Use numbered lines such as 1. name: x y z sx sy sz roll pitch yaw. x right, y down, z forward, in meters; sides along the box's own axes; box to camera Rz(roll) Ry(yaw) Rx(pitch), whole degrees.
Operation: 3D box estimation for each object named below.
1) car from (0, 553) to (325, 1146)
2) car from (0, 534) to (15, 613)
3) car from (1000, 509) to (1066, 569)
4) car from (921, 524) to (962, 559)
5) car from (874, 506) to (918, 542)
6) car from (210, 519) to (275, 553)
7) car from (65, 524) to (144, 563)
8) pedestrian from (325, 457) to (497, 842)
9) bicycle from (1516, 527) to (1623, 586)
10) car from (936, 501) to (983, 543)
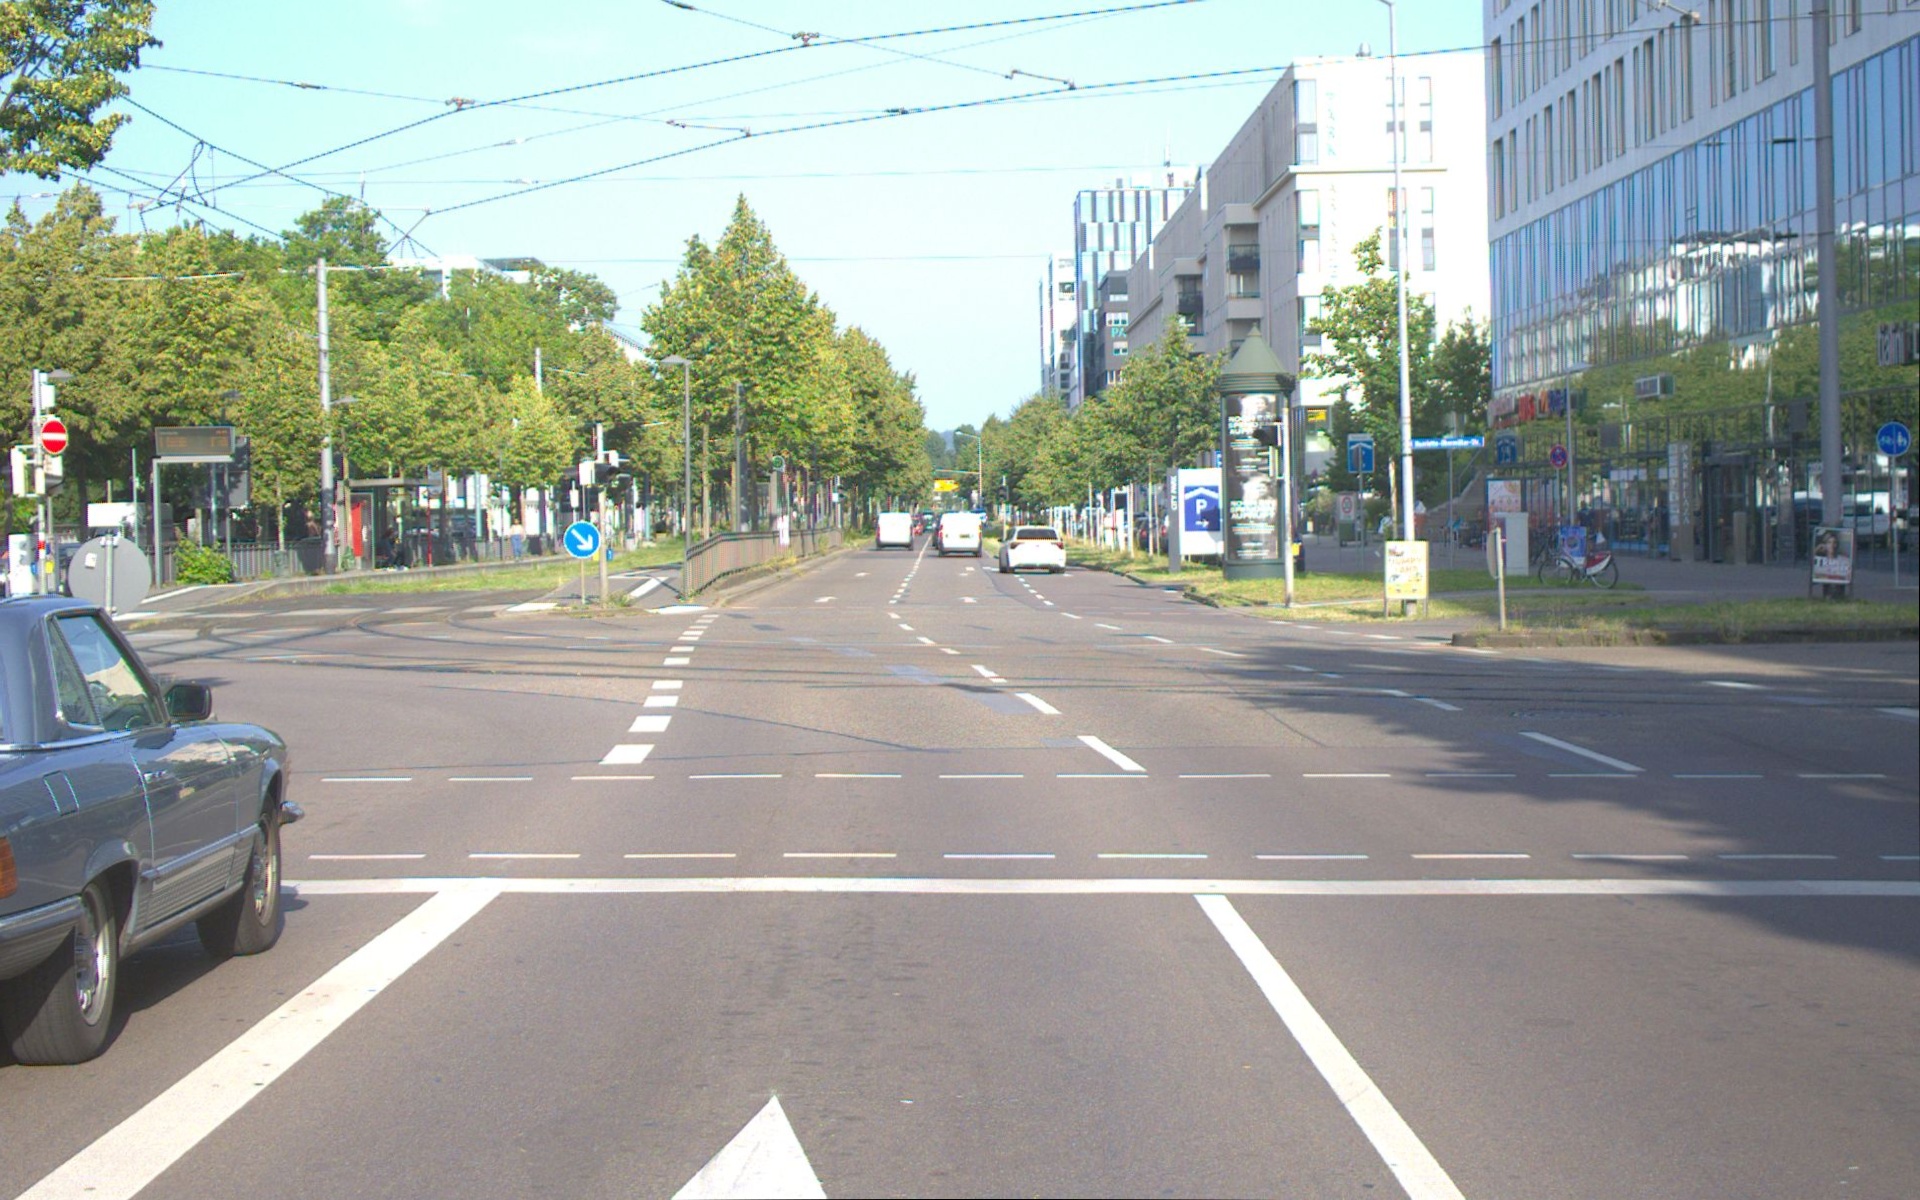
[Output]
1. car: -3.185 0.567 10.448 1.763 1.325 4.400 1 2 -1
2. car: -19.583 -0.435 65.425 1.993 1.499 4.093 -1 3 0
3. car: 2.139 -1.820 101.627 1.864 1.678 4.000 1 2 0
4. car: -0.907 -2.921 171.096 1.924 1.678 4.000 1 2 0
5. car: -3.046 -3.649 164.453 2.015 1.678 4.000 1 2 0
6. car: -33.640 -3.009 161.295 1.881 1.554 3.999 -1 1 5
7. car: -35.044 -2.327 140.889 1.881 1.554 3.999 -1 1 5
8. pedestrian: -2.594 0.222 16.290 0.699 1.786 0.635 0 1 0
9. bicycle: 11.466 -0.825 64.701 0.771 1.028 1.878 -2 4 -43
10. car: -0.003 -3.236 141.921 1.864 1.678 4.000 1 2 0
